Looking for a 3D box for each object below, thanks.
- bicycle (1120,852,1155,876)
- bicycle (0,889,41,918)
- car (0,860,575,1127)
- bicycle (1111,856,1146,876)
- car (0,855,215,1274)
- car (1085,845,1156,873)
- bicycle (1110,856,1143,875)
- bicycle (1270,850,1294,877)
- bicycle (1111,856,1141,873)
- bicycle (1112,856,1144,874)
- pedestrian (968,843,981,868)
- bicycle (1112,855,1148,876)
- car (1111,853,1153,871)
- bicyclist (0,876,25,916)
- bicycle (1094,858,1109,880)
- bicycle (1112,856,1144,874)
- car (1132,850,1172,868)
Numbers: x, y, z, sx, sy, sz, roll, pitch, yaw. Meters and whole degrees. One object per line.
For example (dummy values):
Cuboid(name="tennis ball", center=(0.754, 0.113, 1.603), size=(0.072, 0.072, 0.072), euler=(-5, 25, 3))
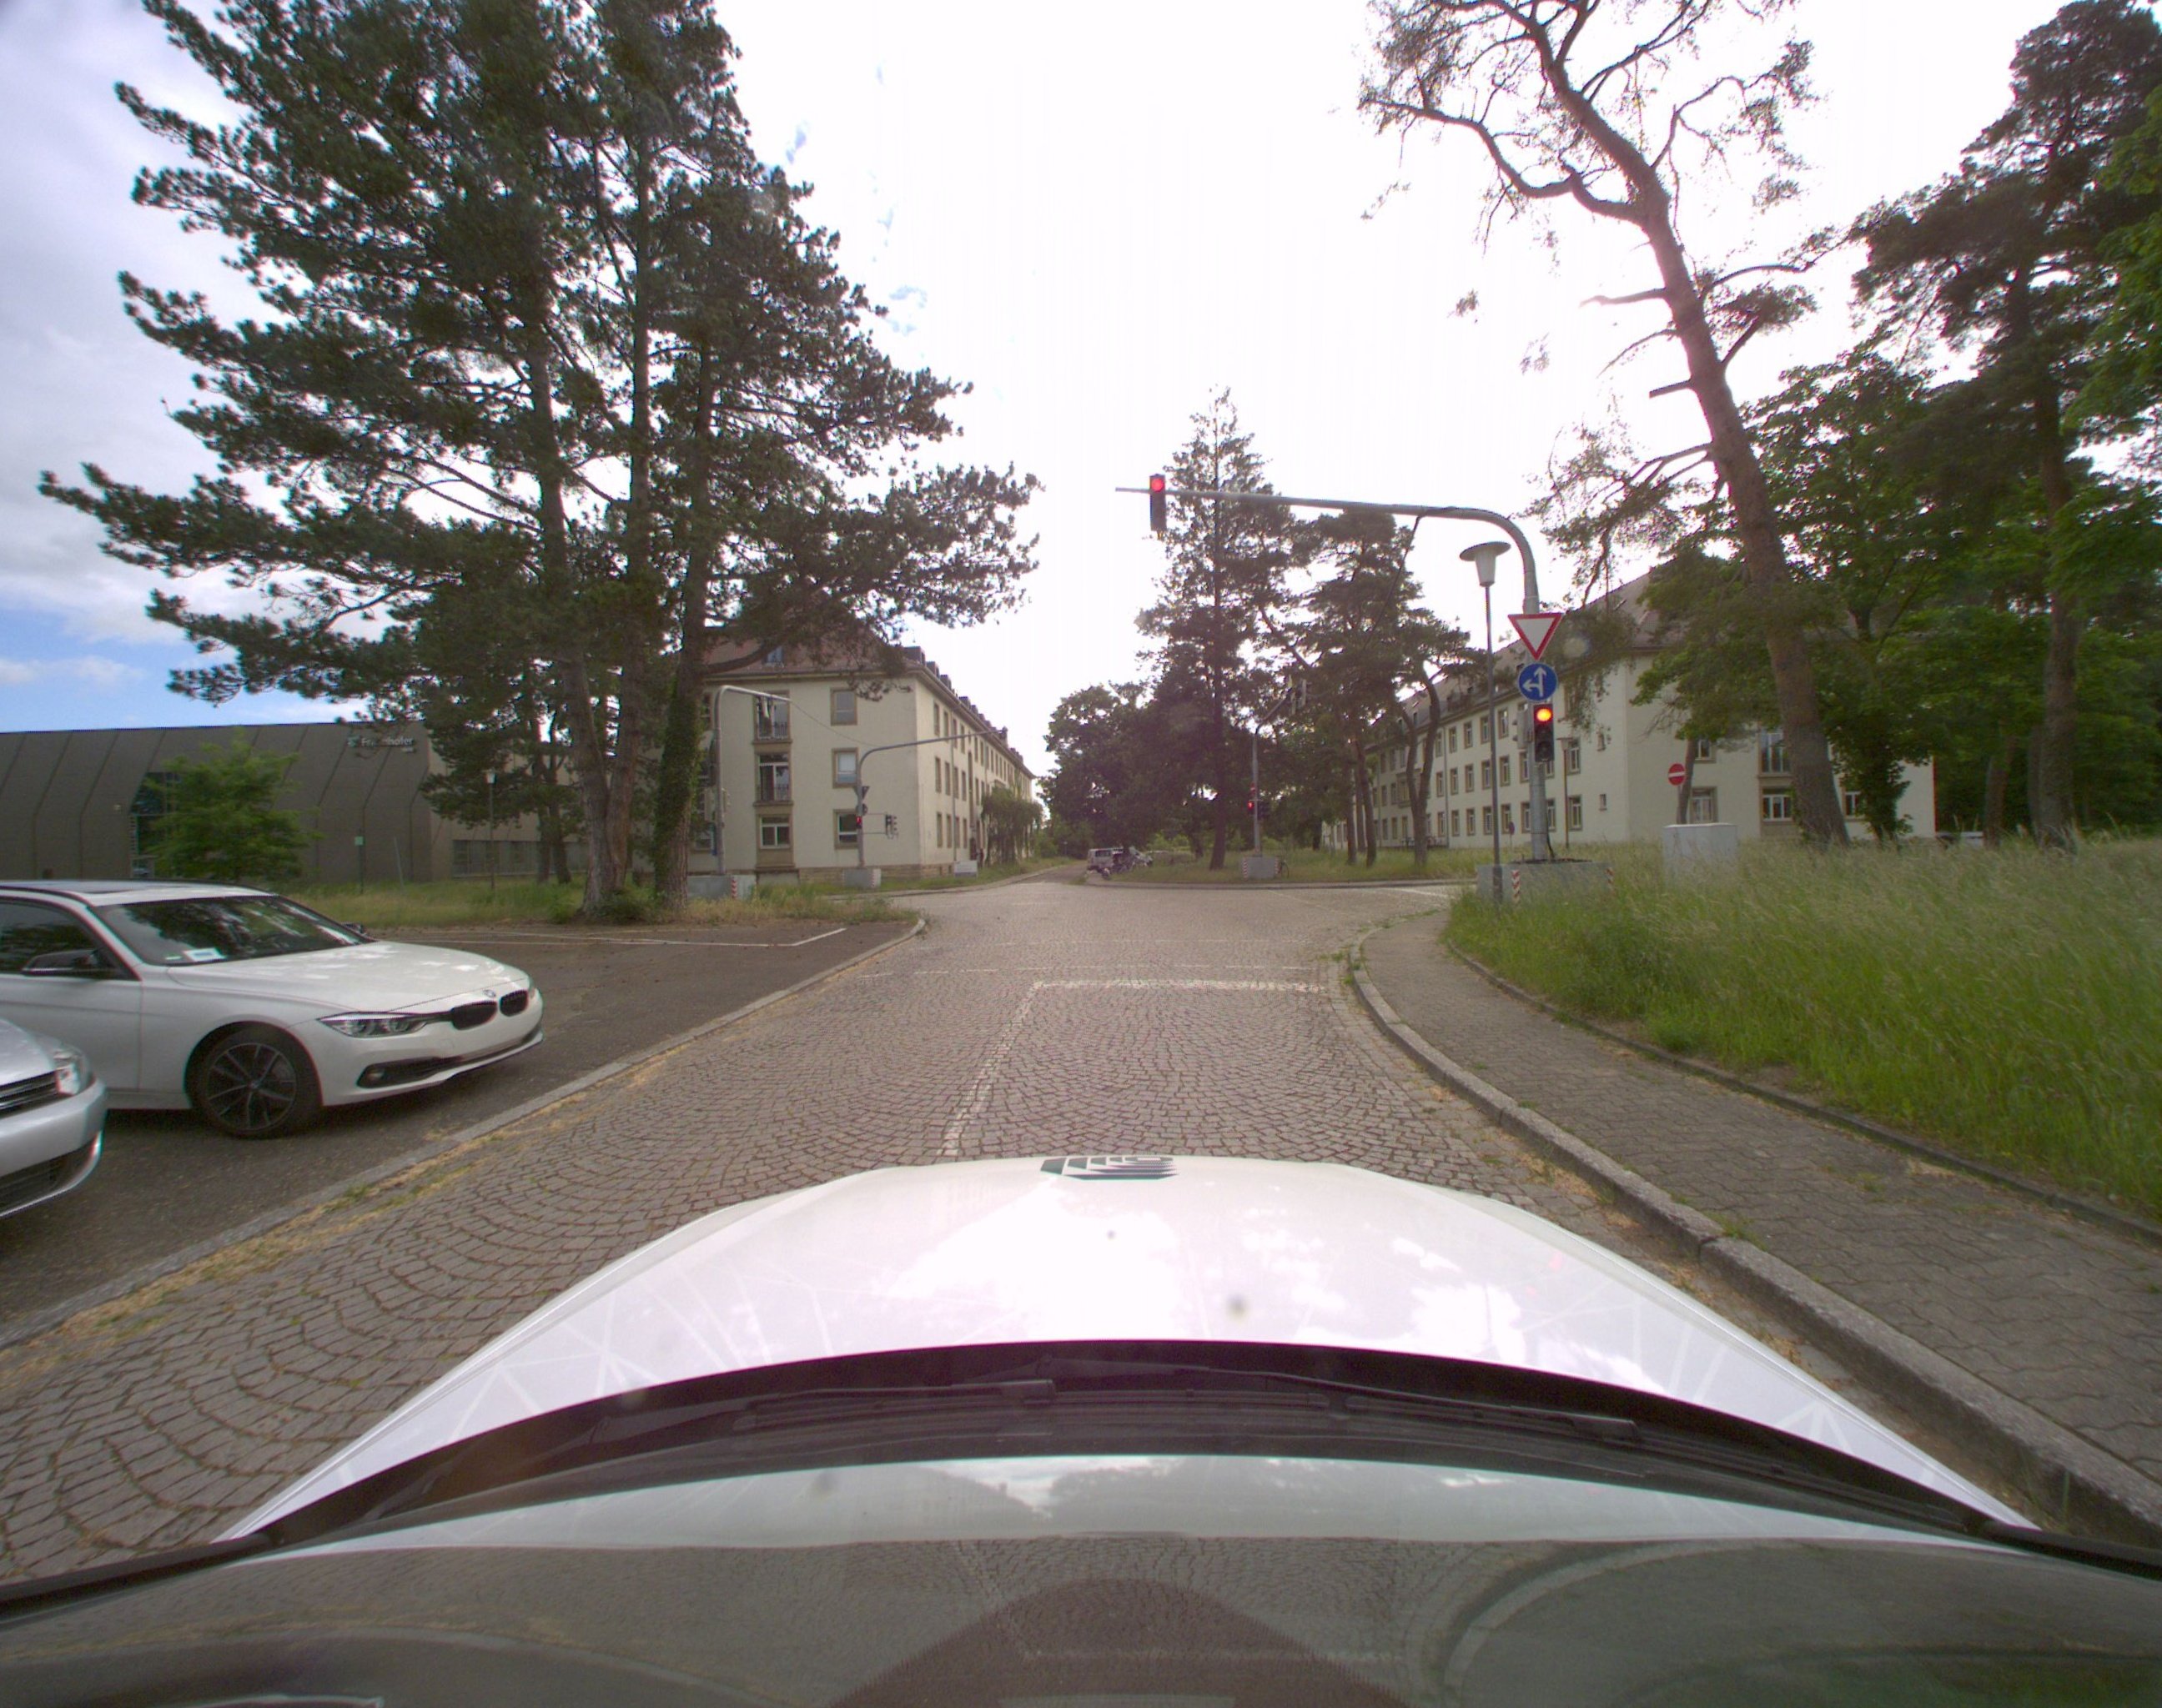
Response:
Cuboid(name="bicycle", center=(3.354, 0.578, 48.471), size=(1.952, 1.384, 0.587), euler=(-1, 0, -5))
Cuboid(name="bicycle", center=(-39.154, 1.804, 29.607), size=(1.948, 1.024, 0.605), euler=(-1, 0, 1))
Cuboid(name="car", center=(-5.905, 0.797, 5.475), size=(3.933, 1.421, 1.650), euler=(1, 0, 1))
Cuboid(name="bicycle", center=(2.786, 0.672, 47.654), size=(1.952, 1.117, 0.587), euler=(-1, 0, -5))
Cuboid(name="car", center=(-6.048, 0.768, 2.944), size=(3.936, 1.563, 1.649), euler=(1, 0, -1))
Cuboid(name="car", center=(3.103, 0.367, 65.111), size=(5.356, 1.925, 2.020), euler=(-3, 0, -7))
Cuboid(name="bicycle", center=(2.735, 0.697, 49.139), size=(1.966, 1.069, 0.583), euler=(-1, 0, -28))
Cuboid(name="bicycle", center=(8.554, 0.386, 34.756), size=(0.584, 1.106, 1.962), euler=(-1, 0, 2))
Cuboid(name="bicycle", center=(2.989, 0.678, 54.173), size=(1.963, 1.069, 0.583), euler=(-1, 0, -23))
Cuboid(name="bicycle", center=(3.009, 0.678, 51.839), size=(1.963, 1.069, 0.583), euler=(-1, 0, -23))
Cuboid(name="pedestrian", center=(-8.249, 0.121, 63.049), size=(0.778, 1.837, 0.734), euler=(-1, 0, -30))
Cuboid(name="bicycle", center=(2.826, 0.648, 47.019), size=(1.952, 1.132, 0.587), euler=(-1, 0, -5))
Cuboid(name="car", center=(3.871, 0.625, 61.725), size=(3.000, 1.268, 1.533), euler=(-2, 0, -4))
Cuboid(name="bicyclist", center=(-39.163, 1.522, 29.603), size=(0.746, 1.410, 0.605), euler=(-1, 0, 2))
Cuboid(name="bicycle", center=(1.111, 0.789, 43.863), size=(0.602, 1.132, 1.959), euler=(-1, 0, -4))
Cuboid(name="bicycle", center=(2.935, 0.694, 50.485), size=(1.966, 1.069, 0.583), euler=(-1, 0, -28))
Cuboid(name="car", center=(5.969, 0.413, 68.923), size=(3.222, 1.416, 1.724), euler=(-2, 0, -1))
